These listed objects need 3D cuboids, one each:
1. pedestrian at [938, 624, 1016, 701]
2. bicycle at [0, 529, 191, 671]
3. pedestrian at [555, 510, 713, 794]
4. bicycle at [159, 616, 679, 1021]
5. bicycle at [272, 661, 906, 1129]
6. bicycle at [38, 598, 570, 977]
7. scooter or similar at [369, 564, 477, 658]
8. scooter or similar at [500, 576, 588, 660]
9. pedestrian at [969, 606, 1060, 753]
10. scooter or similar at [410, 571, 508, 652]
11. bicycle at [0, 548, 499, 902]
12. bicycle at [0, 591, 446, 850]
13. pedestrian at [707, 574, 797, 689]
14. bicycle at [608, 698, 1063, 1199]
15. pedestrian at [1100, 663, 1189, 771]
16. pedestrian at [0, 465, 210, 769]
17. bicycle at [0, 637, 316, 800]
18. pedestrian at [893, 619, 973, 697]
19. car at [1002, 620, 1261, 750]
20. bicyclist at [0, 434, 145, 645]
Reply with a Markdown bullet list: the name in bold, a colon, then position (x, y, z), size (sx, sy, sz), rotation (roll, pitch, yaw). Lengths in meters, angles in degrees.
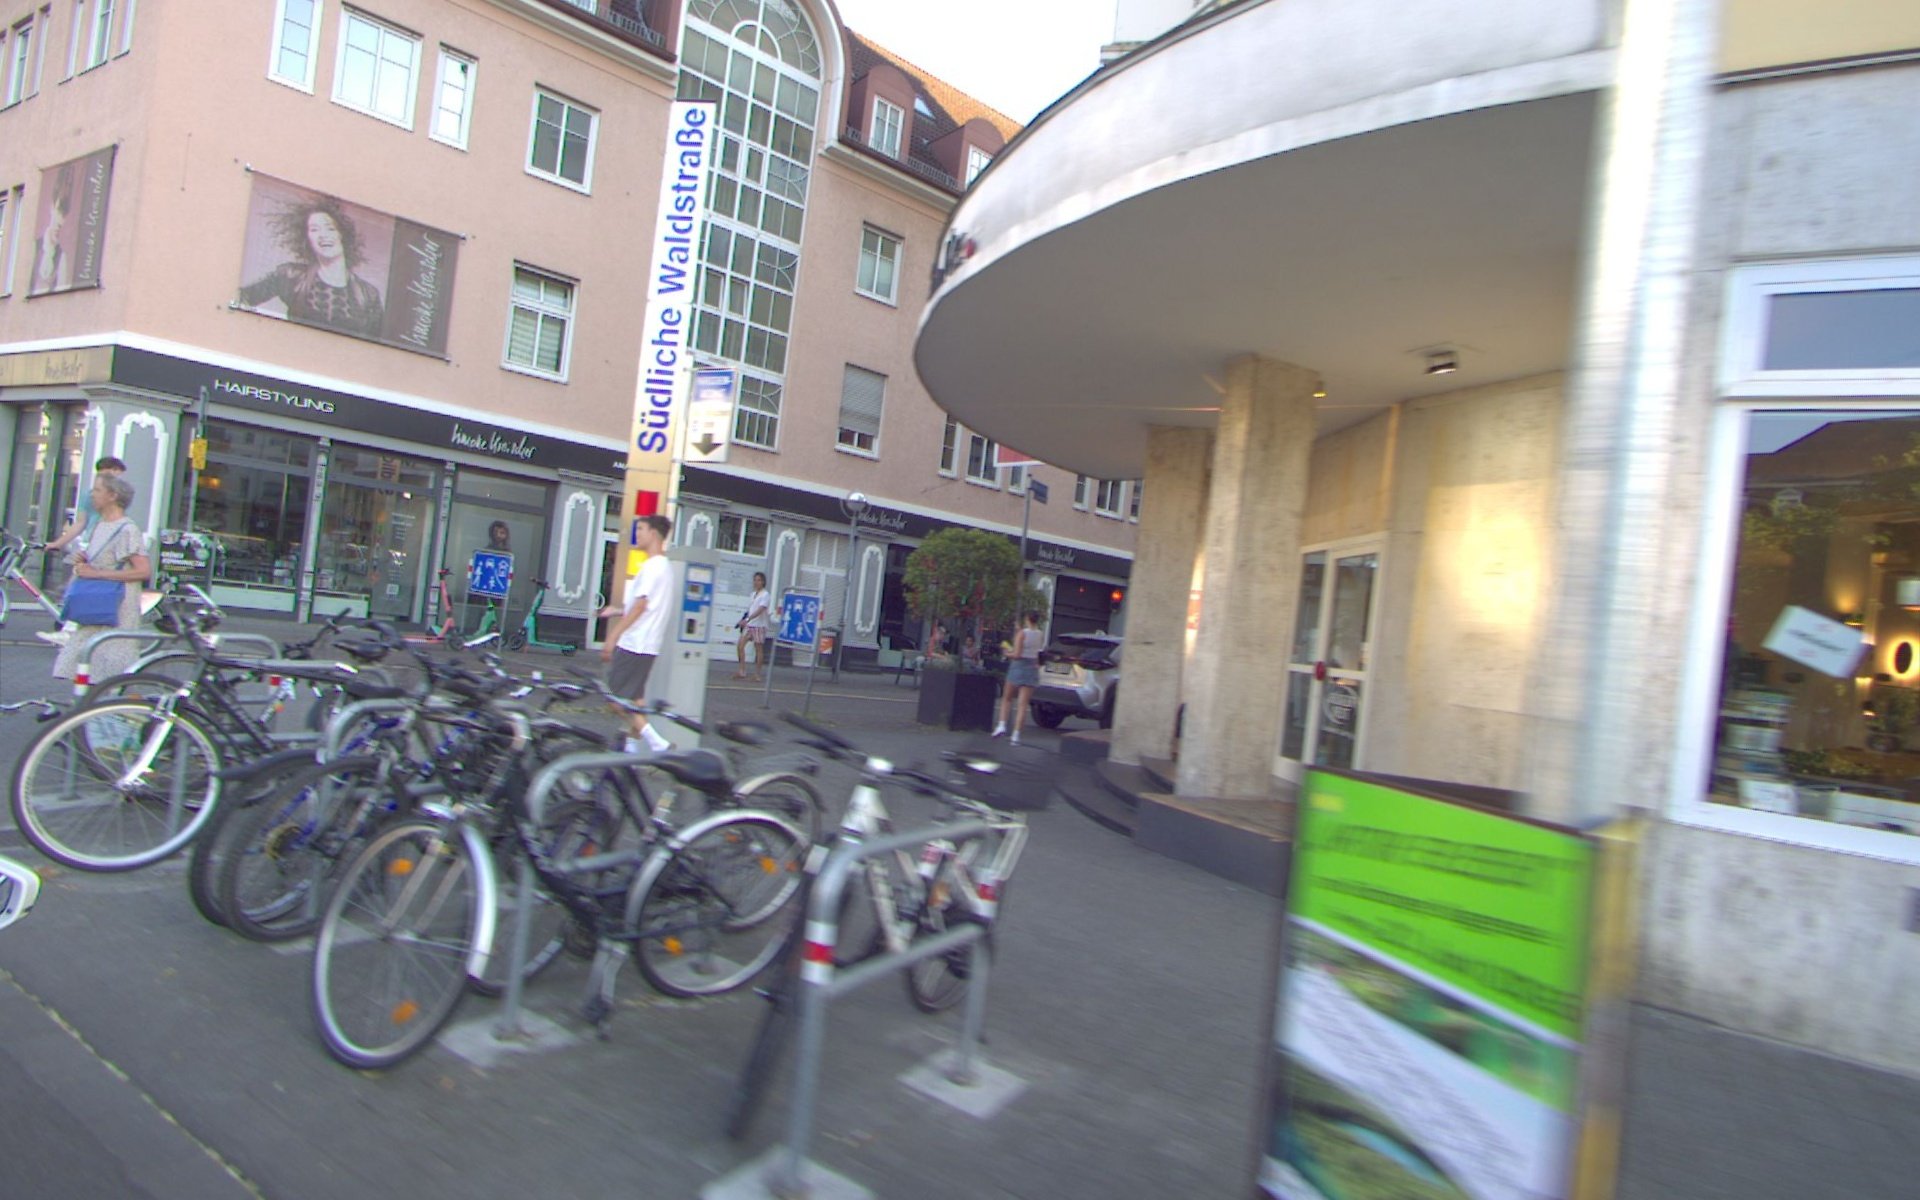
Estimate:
- **pedestrian**: position (0.373, 1.354, 21.764), size (1.209, 1.429, 0.890), rotation (9, 0, 33)
- **bicycle**: position (-8.620, -0.004, 9.609), size (0.782, 1.200, 1.818), rotation (6, -1, 40)
- **pedestrian**: position (-2.343, 0.362, 7.180), size (0.815, 1.838, 0.867), rotation (7, 0, -23)
- **bicycle**: position (-1.987, 0.717, 4.040), size (0.611, 1.188, 1.787), rotation (7, 0, 20)
- **bicycle**: position (-1.106, 0.823, 3.697), size (0.791, 1.088, 2.175), rotation (7, 0, 25)
- **bicycle**: position (-2.583, 0.659, 4.253), size (0.611, 1.188, 1.787), rotation (7, 0, 20)
- **scooter or similar**: position (-7.953, 0.171, 14.925), size (1.247, 1.229, 0.463), rotation (8, -1, -36)
- **scooter or similar**: position (-6.983, 0.308, 16.912), size (1.192, 1.275, 0.360), rotation (8, -1, -33)
- **pedestrian**: position (0.684, 0.976, 12.451), size (0.742, 1.688, 0.733), rotation (7, -1, 21)
- **scooter or similar**: position (-8.148, 0.202, 16.386), size (1.292, 1.156, 0.361), rotation (8, -1, -32)
- **bicycle**: position (-3.194, 0.515, 4.640), size (0.628, 1.254, 1.848), rotation (7, -1, 26)
- **bicycle**: position (-3.818, 0.574, 5.409), size (0.705, 1.077, 1.787), rotation (7, 0, 20)
- **pedestrian**: position (-3.486, 0.553, 16.948), size (0.811, 1.796, 1.100), rotation (7, 0, 25)
- **bicycle**: position (-0.232, 0.956, 3.259), size (0.584, 1.137, 1.850), rotation (6, -1, 20)
- **pedestrian**: position (2.243, 1.423, 12.264), size (0.633, 1.199, 0.697), rotation (8, -1, -41)
- **pedestrian**: position (-5.315, 0.109, 6.156), size (0.780, 1.673, 0.778), rotation (7, 0, -15)
- **bicycle**: position (-4.523, 0.636, 5.703), size (1.031, 0.689, 1.008), rotation (7, -1, 22)
- **pedestrian**: position (-0.561, 1.214, 21.097), size (1.209, 1.429, 0.890), rotation (9, 0, 33)
- **car**: position (2.815, 1.399, 16.142), size (3.959, 1.611, 1.816), rotation (8, -2, -39)
- **bicyclist**: position (-8.507, -0.563, 9.598), size (0.819, 1.848, 0.833), rotation (7, -1, 39)
